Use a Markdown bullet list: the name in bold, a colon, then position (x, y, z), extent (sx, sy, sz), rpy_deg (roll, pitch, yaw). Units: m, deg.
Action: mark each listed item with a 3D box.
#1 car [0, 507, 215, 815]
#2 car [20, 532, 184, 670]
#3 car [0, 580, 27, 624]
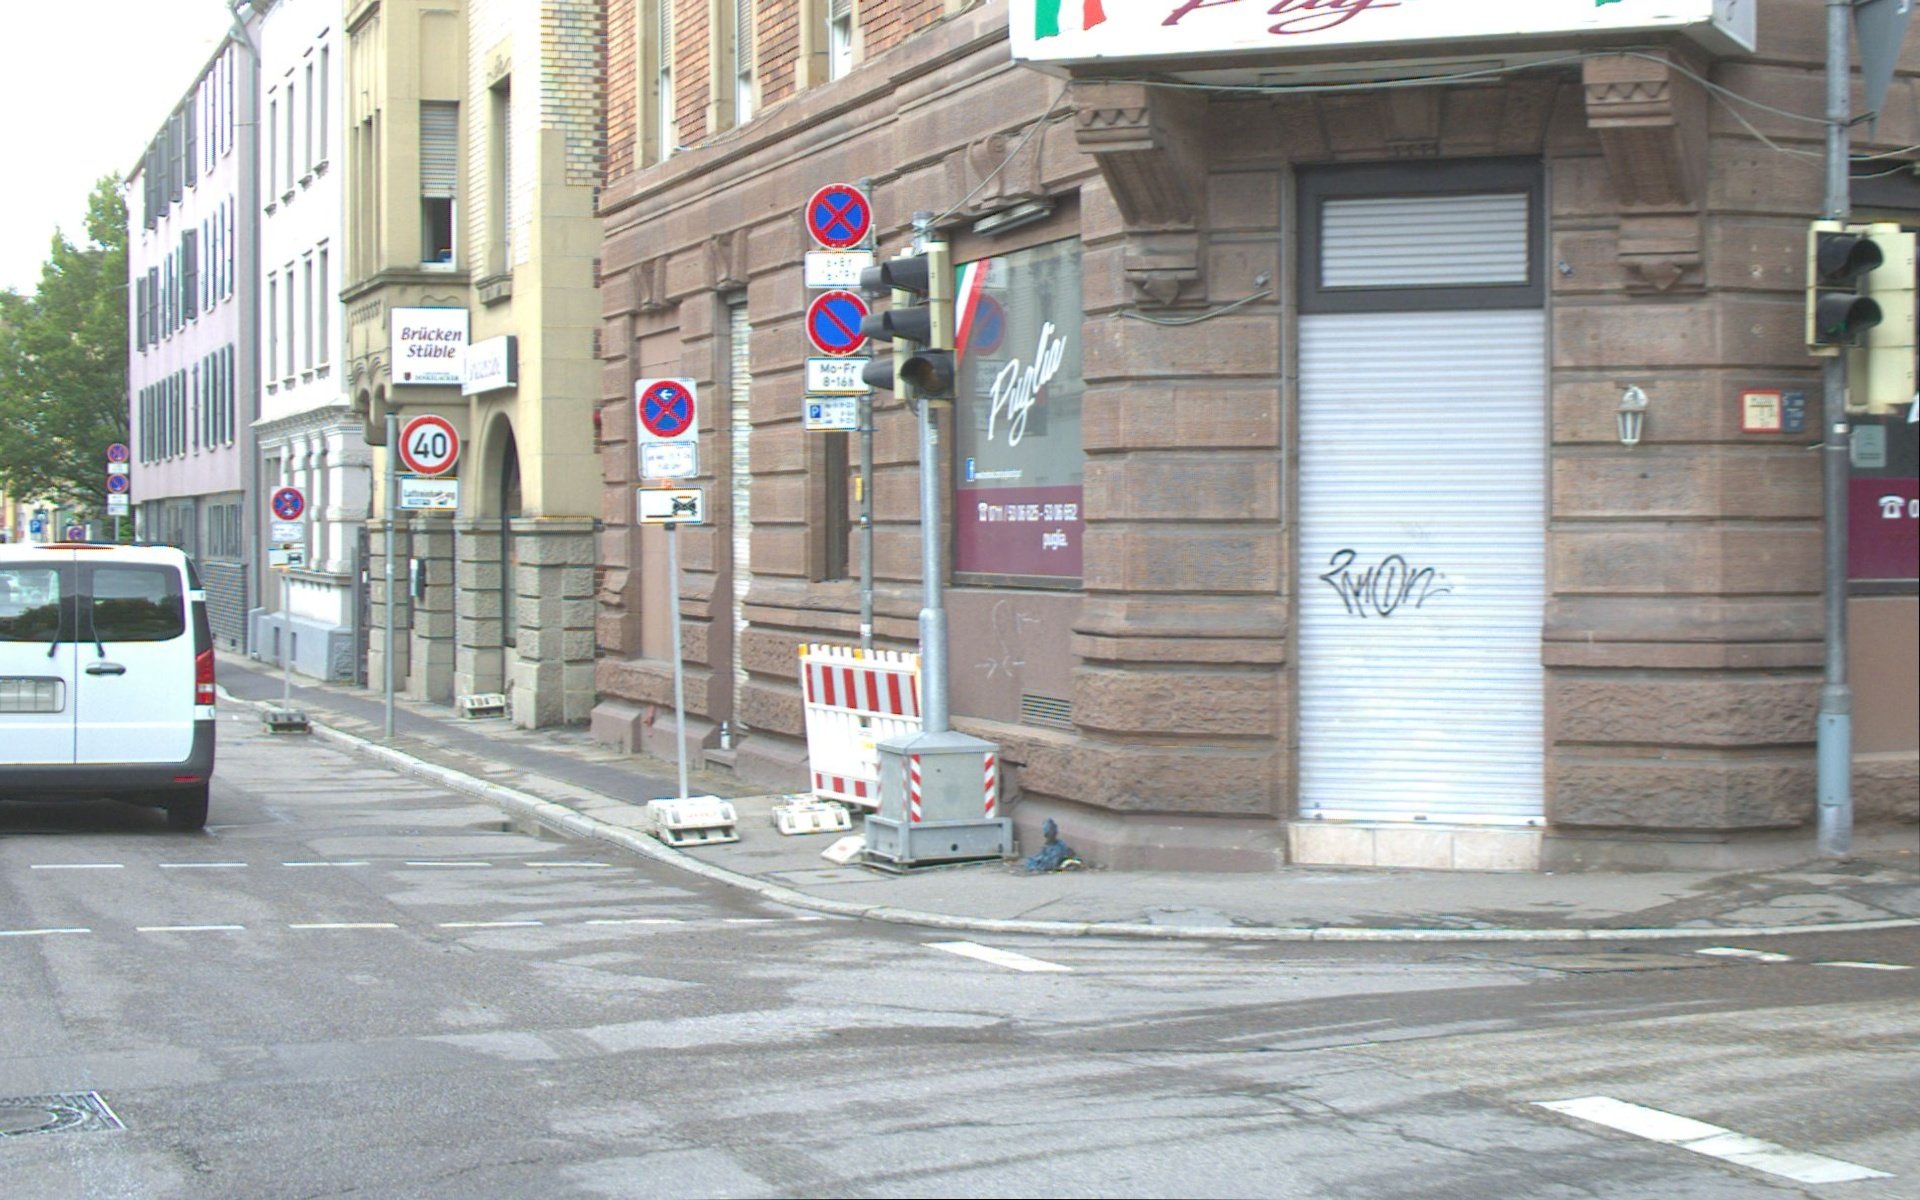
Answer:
- **car**: position (-6.376, 0.386, 23.778), extent (1.891, 1.922, 4.646), rpy_deg (0, 0, -18)
- **car**: position (-13.418, 0.001, 53.574), extent (2.128, 1.998, 4.927), rpy_deg (2, 0, -17)
- **car**: position (-34.058, 0.025, 121.150), extent (1.993, 1.480, 4.001), rpy_deg (4, 0, -18)
